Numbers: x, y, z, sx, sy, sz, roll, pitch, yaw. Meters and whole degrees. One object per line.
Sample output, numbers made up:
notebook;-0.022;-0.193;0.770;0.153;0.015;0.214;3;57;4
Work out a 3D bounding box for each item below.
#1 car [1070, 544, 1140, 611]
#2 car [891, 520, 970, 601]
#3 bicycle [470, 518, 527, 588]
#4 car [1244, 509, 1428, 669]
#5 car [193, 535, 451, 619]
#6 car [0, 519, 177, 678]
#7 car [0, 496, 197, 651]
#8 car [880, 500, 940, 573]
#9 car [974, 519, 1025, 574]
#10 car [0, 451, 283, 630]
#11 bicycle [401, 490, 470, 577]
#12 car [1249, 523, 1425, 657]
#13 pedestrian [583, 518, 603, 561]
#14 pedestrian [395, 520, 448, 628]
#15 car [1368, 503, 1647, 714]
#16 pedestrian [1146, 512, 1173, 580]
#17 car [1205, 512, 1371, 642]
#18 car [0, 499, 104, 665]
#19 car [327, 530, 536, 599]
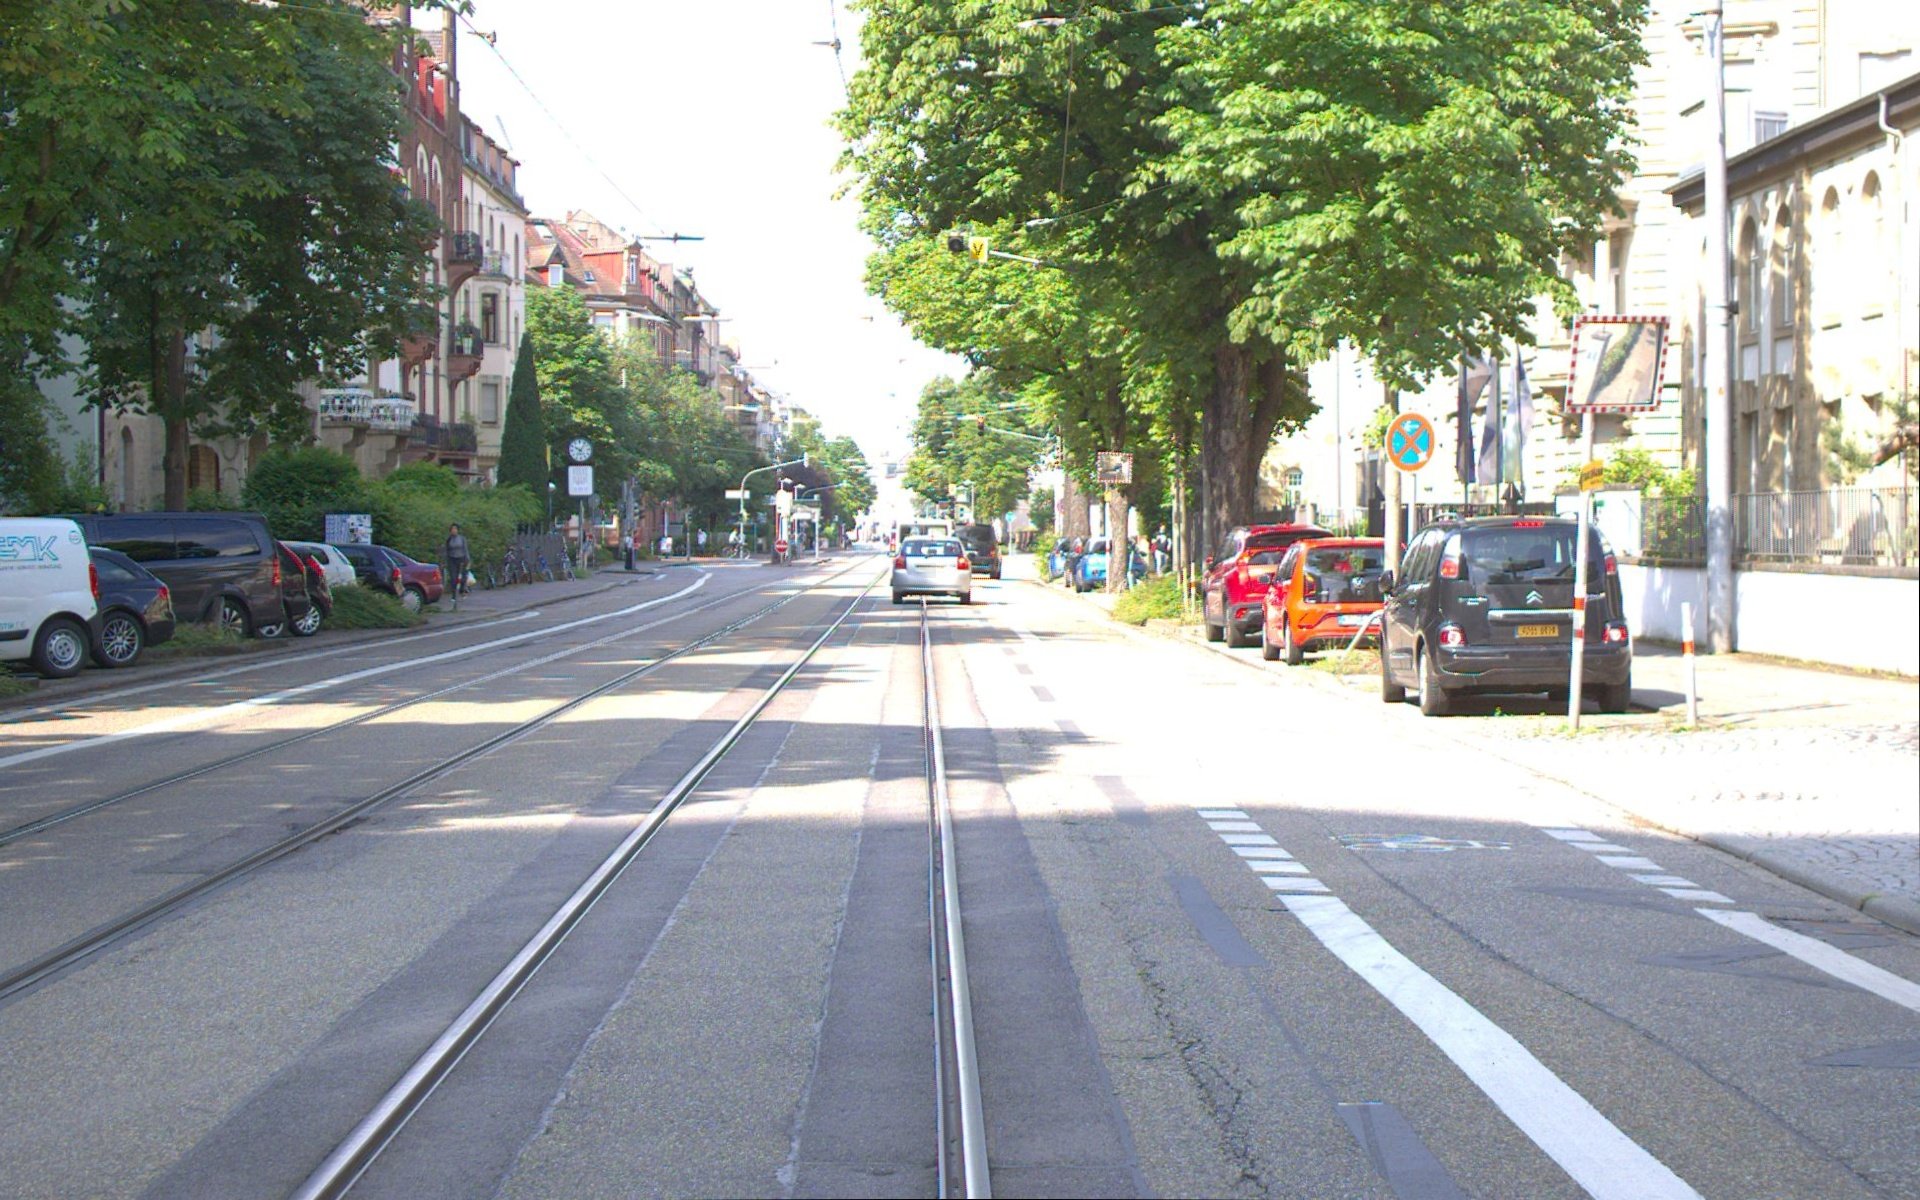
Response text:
car;3.781;-0.597;89.998;1.621;1.678;3.565;1;1;-1
car;-0.643;-0.853;73.794;1.621;1.678;3.565;1;1;-1
bicycle;-11.694;-1.182;87.167;0.938;1.740;2.284;1;1;5
car;4.381;-0.172;40.490;1.674;1.606;3.585;-2;4;-1
car;-10.312;-0.361;55.657;3.775;1.302;1.638;0;1;-39
car;-9.578;-0.018;33.090;1.761;1.496;3.628;0;0;42
car;-10.819;-0.309;39.096;1.882;1.706;3.749;2;1;44
car;-1.397;-1.780;96.626;1.621;1.993;3.565;1;1;-1
car;1.334;-1.813;116.704;1.621;1.842;3.565;1;1;-1
car;-11.282;-0.785;45.285;1.882;2.074;4.193;4;0;44
bicycle;-11.823;-1.497;77.546;0.938;1.912;2.498;1;1;5
car;4.402;-0.136;40.517;1.667;1.481;3.279;-1;1;0
pedestrian;-17.312;-2.844;162.304;0.884;2.007;0.788;1;1;-9
pedestrian;-10.252;-0.489;65.462;0.733;2.007;0.824;-3;0;3
car;4.540;0.016;28.945;1.674;1.606;3.585;-2;2;-1
pedestrian;5.912;-1.599;101.994;0.760;2.007;0.764;1;1;1
car;4.496;-0.329;47.640;1.960;1.700;4.000;1;1;1
car;-11.032;-0.205;35.628;1.882;1.706;3.749;2;1;44
car;-10.480;-0.704;68.273;3.775;1.302;1.638;0;1;-39
